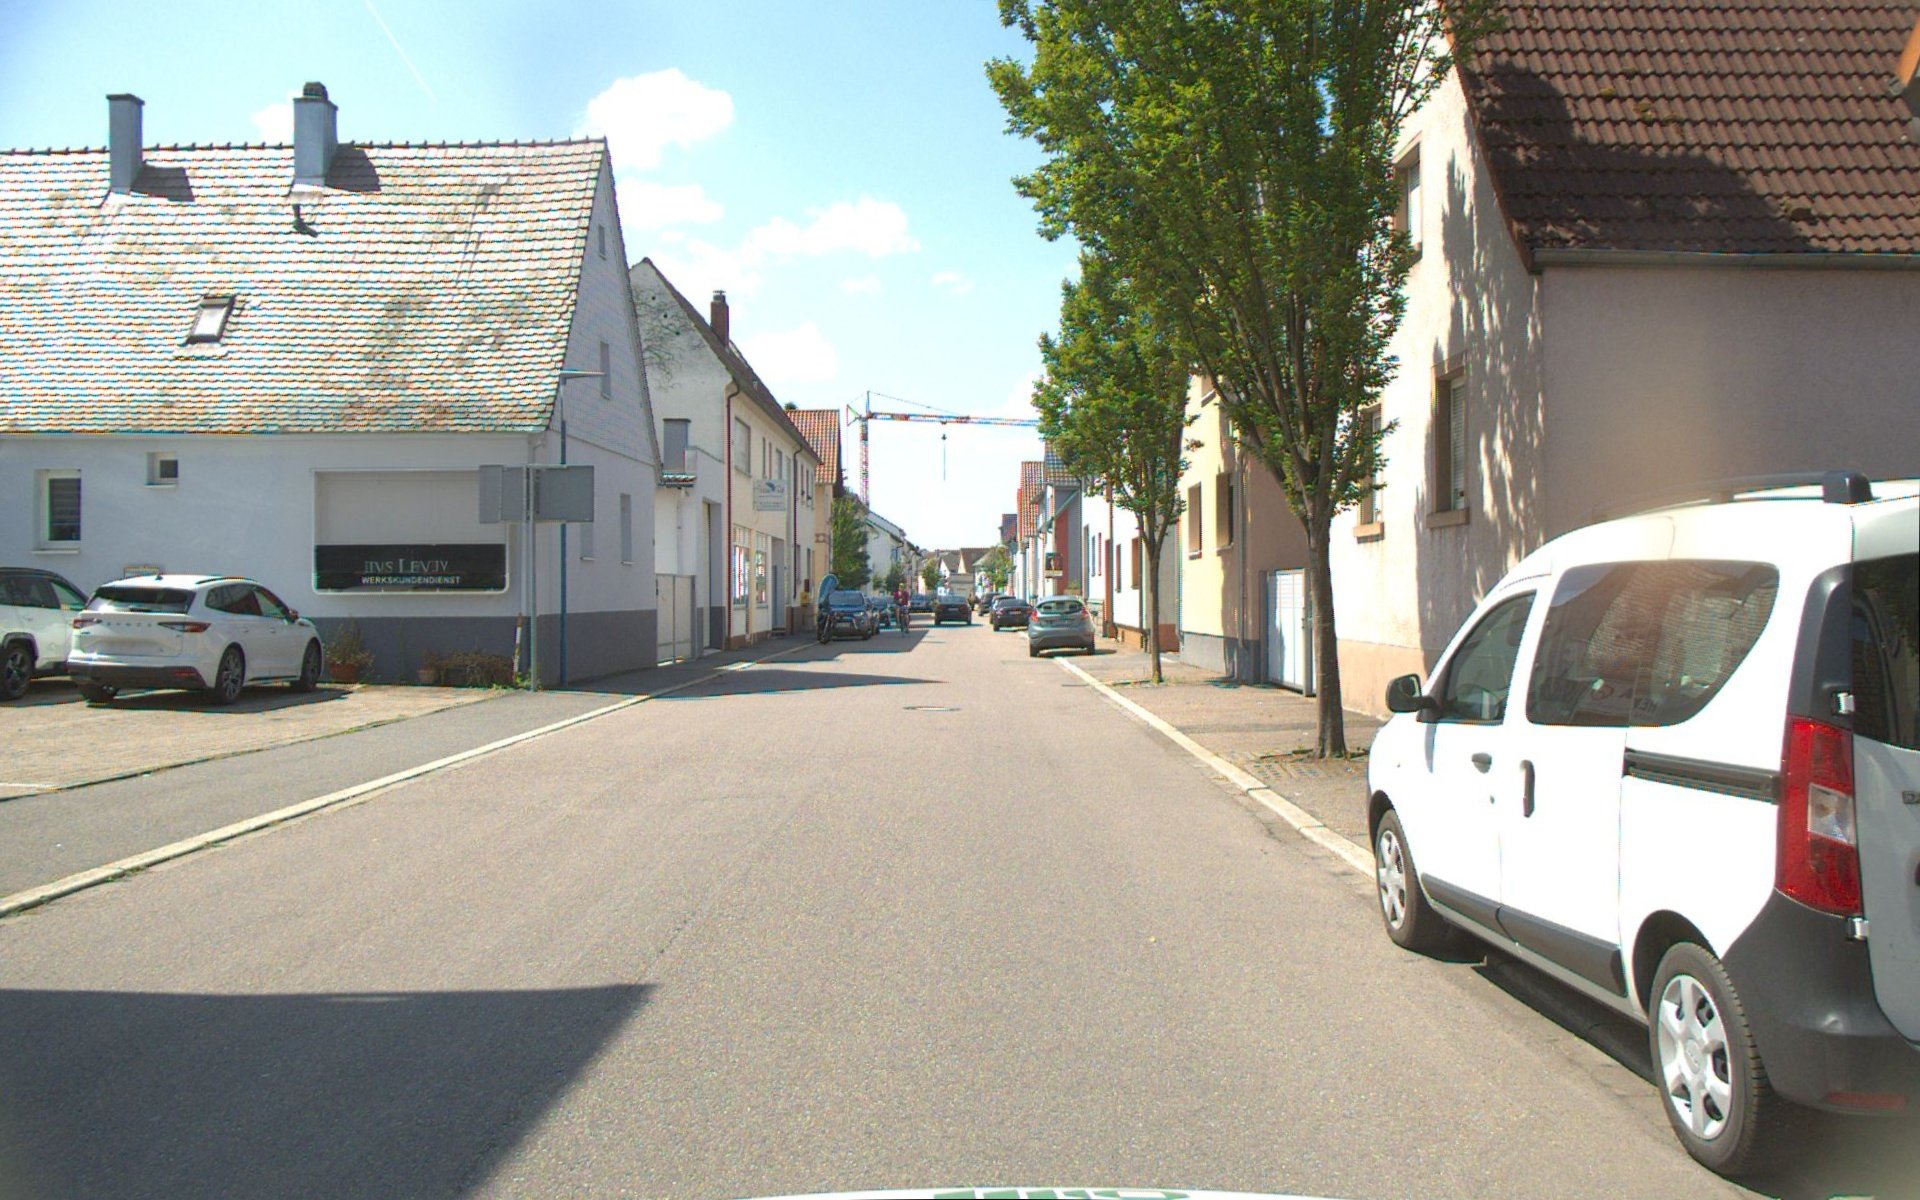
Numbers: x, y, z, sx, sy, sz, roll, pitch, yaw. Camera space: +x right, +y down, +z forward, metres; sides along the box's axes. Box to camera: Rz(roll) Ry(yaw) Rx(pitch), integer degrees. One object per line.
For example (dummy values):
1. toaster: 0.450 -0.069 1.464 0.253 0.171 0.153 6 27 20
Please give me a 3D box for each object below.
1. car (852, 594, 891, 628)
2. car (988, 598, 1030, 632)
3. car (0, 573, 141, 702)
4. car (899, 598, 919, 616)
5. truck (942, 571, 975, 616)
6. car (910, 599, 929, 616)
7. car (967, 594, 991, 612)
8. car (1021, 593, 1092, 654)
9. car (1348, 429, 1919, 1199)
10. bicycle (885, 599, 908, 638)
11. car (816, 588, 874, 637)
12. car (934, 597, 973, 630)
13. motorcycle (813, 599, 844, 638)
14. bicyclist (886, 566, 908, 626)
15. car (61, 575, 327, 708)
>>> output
1. car: -4.351 0.517 81.586 1.772 1.617 3.999 0 0 -1
2. car: 2.069 0.621 70.749 1.684 1.379 4.156 0 0 0
3. car: -12.682 0.434 21.881 1.685 1.583 4.197 1 0 -2
4. car: -4.674 0.648 151.793 1.772 1.617 3.999 0 0 -1
5. truck: -0.078 -0.627 165.809 3.080 4.325 9.303 1 0 1
6. car: -3.895 0.701 158.407 1.772 1.617 3.999 0 0 -1
7. car: 1.354 0.218 119.770 1.684 1.291 4.156 0 0 0
8. car: 2.443 0.570 42.512 1.684 1.487 4.157 0 0 1
9. car: 2.763 0.502 5.756 1.685 1.821 4.142 -2 0 -2
10. bicycle: -2.250 0.657 58.928 0.736 1.331 2.685 1 0 -1
11. car: -3.903 0.396 56.657 1.772 1.617 3.999 0 0 -1
12. car: -0.300 0.653 82.810 1.863 1.591 4.477 0 0 1
13. motorcycle: -4.184 0.595 52.926 0.829 1.190 2.468 1 0 -1
14. bicyclist: -2.232 -0.140 59.020 0.725 2.095 0.844 1 -1 -1
15. car: -10.086 0.499 22.147 1.685 1.583 4.197 1 0 -2
